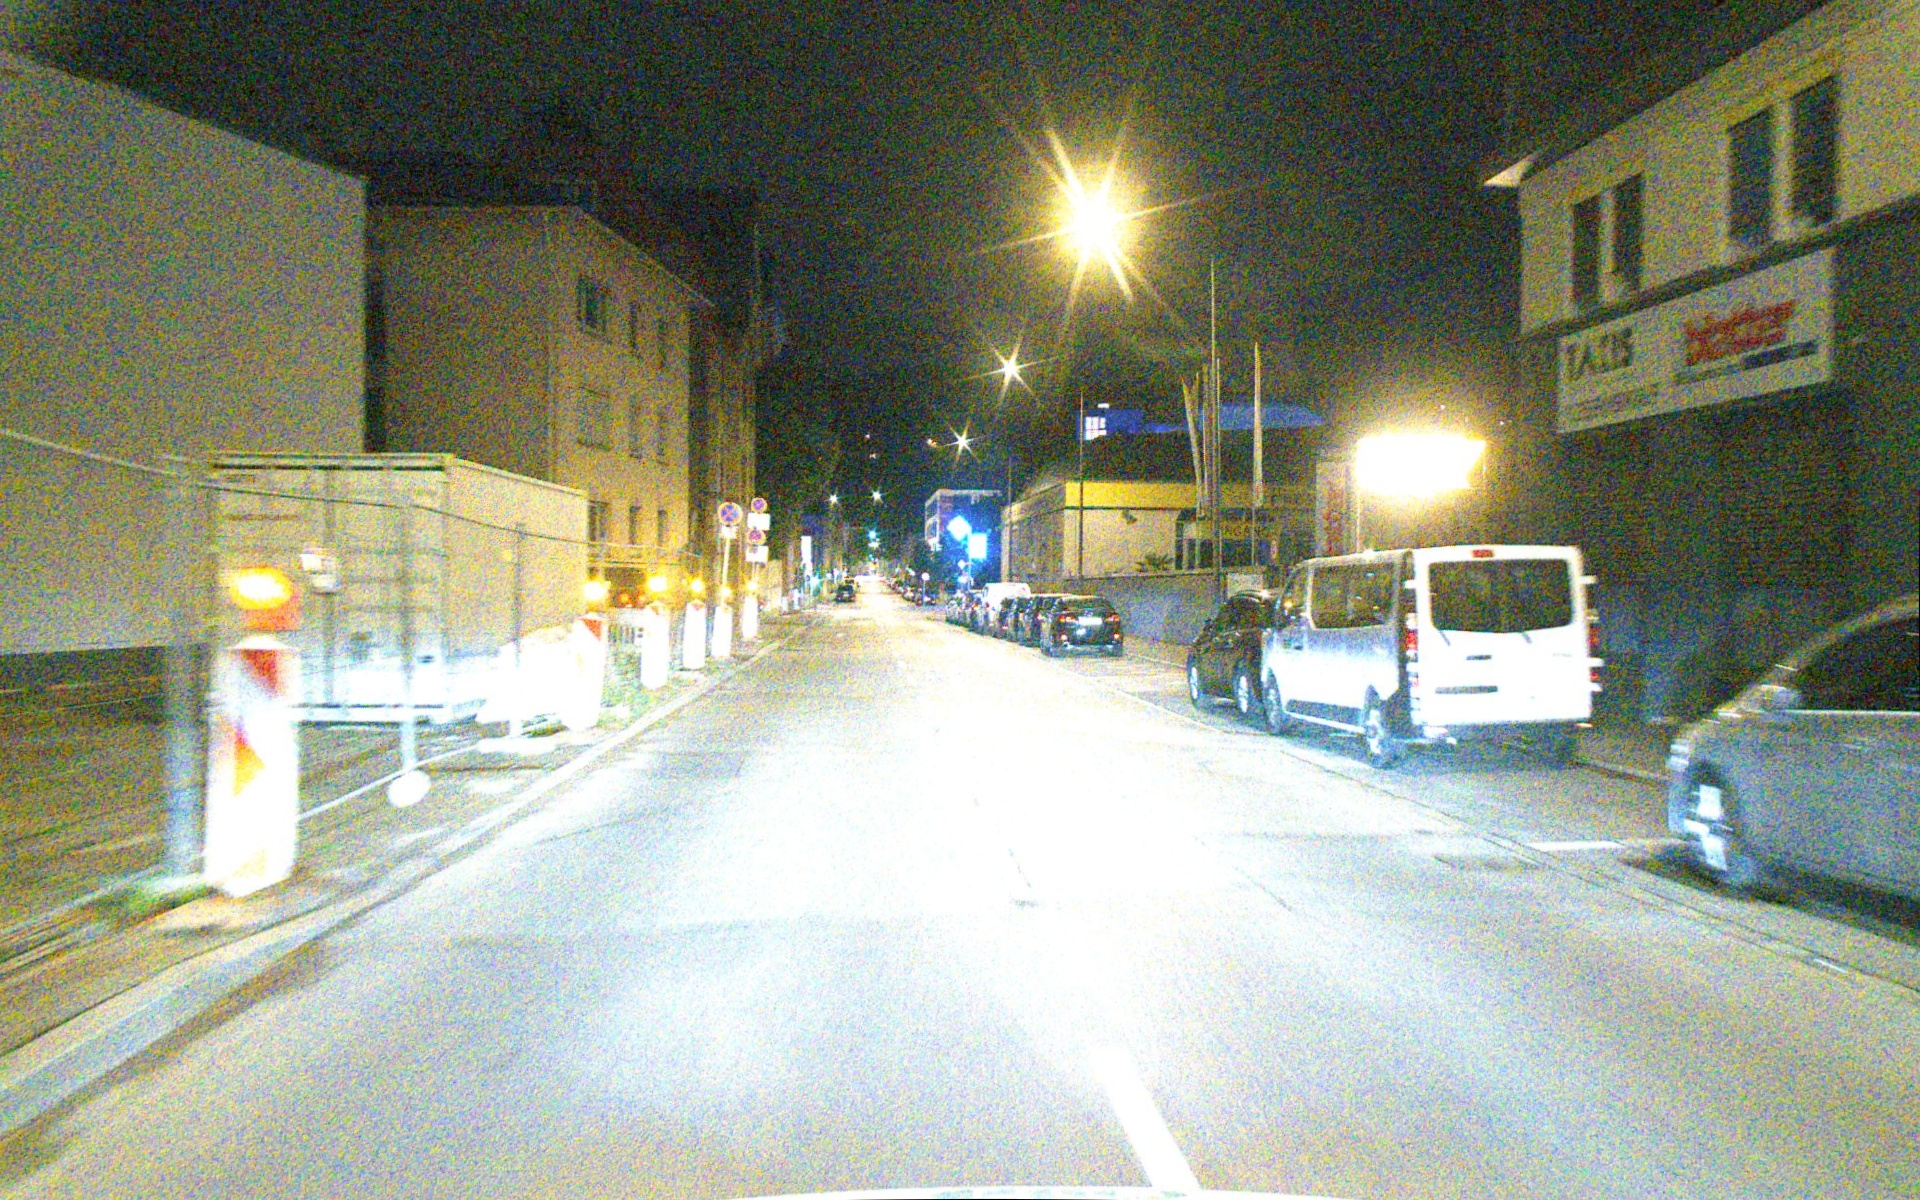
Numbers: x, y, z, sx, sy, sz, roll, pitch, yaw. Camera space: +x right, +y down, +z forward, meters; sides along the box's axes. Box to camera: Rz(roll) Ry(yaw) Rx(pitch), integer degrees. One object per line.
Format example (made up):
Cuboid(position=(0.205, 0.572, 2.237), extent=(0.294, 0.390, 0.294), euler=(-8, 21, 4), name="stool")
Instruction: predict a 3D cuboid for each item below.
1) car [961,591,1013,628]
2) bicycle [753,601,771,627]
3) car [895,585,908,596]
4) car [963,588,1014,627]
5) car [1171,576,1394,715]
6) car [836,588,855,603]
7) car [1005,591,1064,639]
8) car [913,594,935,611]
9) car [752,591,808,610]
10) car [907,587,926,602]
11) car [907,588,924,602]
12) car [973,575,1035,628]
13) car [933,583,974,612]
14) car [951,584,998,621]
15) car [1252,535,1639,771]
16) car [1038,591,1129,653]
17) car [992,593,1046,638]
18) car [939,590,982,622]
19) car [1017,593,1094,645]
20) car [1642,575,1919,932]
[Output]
Cuboid(position=(1.086, 0.366, 68.248), extent=(1.780, 1.452, 4.185), euler=(-1, 1, -4), name="car")
Cuboid(position=(-8.356, 0.598, 69.908), extent=(0.607, 1.070, 1.721), euler=(1, 0, -3), name="bicycle")
Cuboid(position=(-8.944, -1.464, 253.709), extent=(1.953, 1.546, 3.998), euler=(1, 0, -2), name="car")
Cuboid(position=(1.227, 0.317, 73.170), extent=(1.788, 1.616, 4.624), euler=(-1, 1, -5), name="car")
Cuboid(position=(4.225, 0.558, 22.358), extent=(1.784, 1.627, 4.215), euler=(-2, 0, -6), name="car")
Cuboid(position=(-12.204, -0.435, 175.883), extent=(1.954, 1.528, 3.997), euler=(1, 0, -3), name="car")
Cuboid(position=(2.364, 0.475, 53.151), extent=(1.563, 1.492, 3.717), euler=(1, 0, -3), name="car")
Cuboid(position=(-3.454, 0.193, 158.163), extent=(1.953, 1.542, 3.999), euler=(1, 0, -2), name="car")
Cuboid(position=(-14.467, 0.066, 132.858), extent=(4.351, 1.475, 1.998), euler=(1, 0, -4), name="car")
Cuboid(position=(-4.789, -0.591, 181.992), extent=(1.953, 1.546, 3.998), euler=(1, 0, -2), name="car")
Cuboid(position=(-5.082, -0.547, 188.474), extent=(1.953, 1.546, 3.998), euler=(1, 0, -2), name="car")
Cuboid(position=(1.645, 0.045, 63.516), extent=(1.765, 1.908, 4.768), euler=(-1, 1, -6), name="car")
Cuboid(position=(-0.396, -0.138, 90.479), extent=(1.824, 1.515, 4.541), euler=(1, 0, -6), name="car")
Cuboid(position=(0.673, 0.097, 78.642), extent=(1.788, 1.651, 4.453), euler=(-1, 1, -5), name="car")
Cuboid(position=(4.617, 0.455, 16.776), extent=(2.031, 1.962, 5.366), euler=(-1, 0, -4), name="car")
Cuboid(position=(3.032, 0.533, 41.308), extent=(1.743, 1.451, 4.478), euler=(1, 0, -2), name="car")
Cuboid(position=(2.033, 0.527, 57.782), extent=(1.563, 1.492, 3.889), euler=(1, 0, -3), name="car")
Cuboid(position=(0.002, 0.313, 84.375), extent=(1.740, 1.571, 4.541), euler=(1, 0, -6), name="car")
Cuboid(position=(2.746, 0.536, 48.101), extent=(1.744, 1.451, 3.888), euler=(1, 0, -4), name="car")
Cuboid(position=(5.092, 0.669, 7.850), extent=(1.709, 1.593, 4.207), euler=(-1, 0, -4), name="car")
